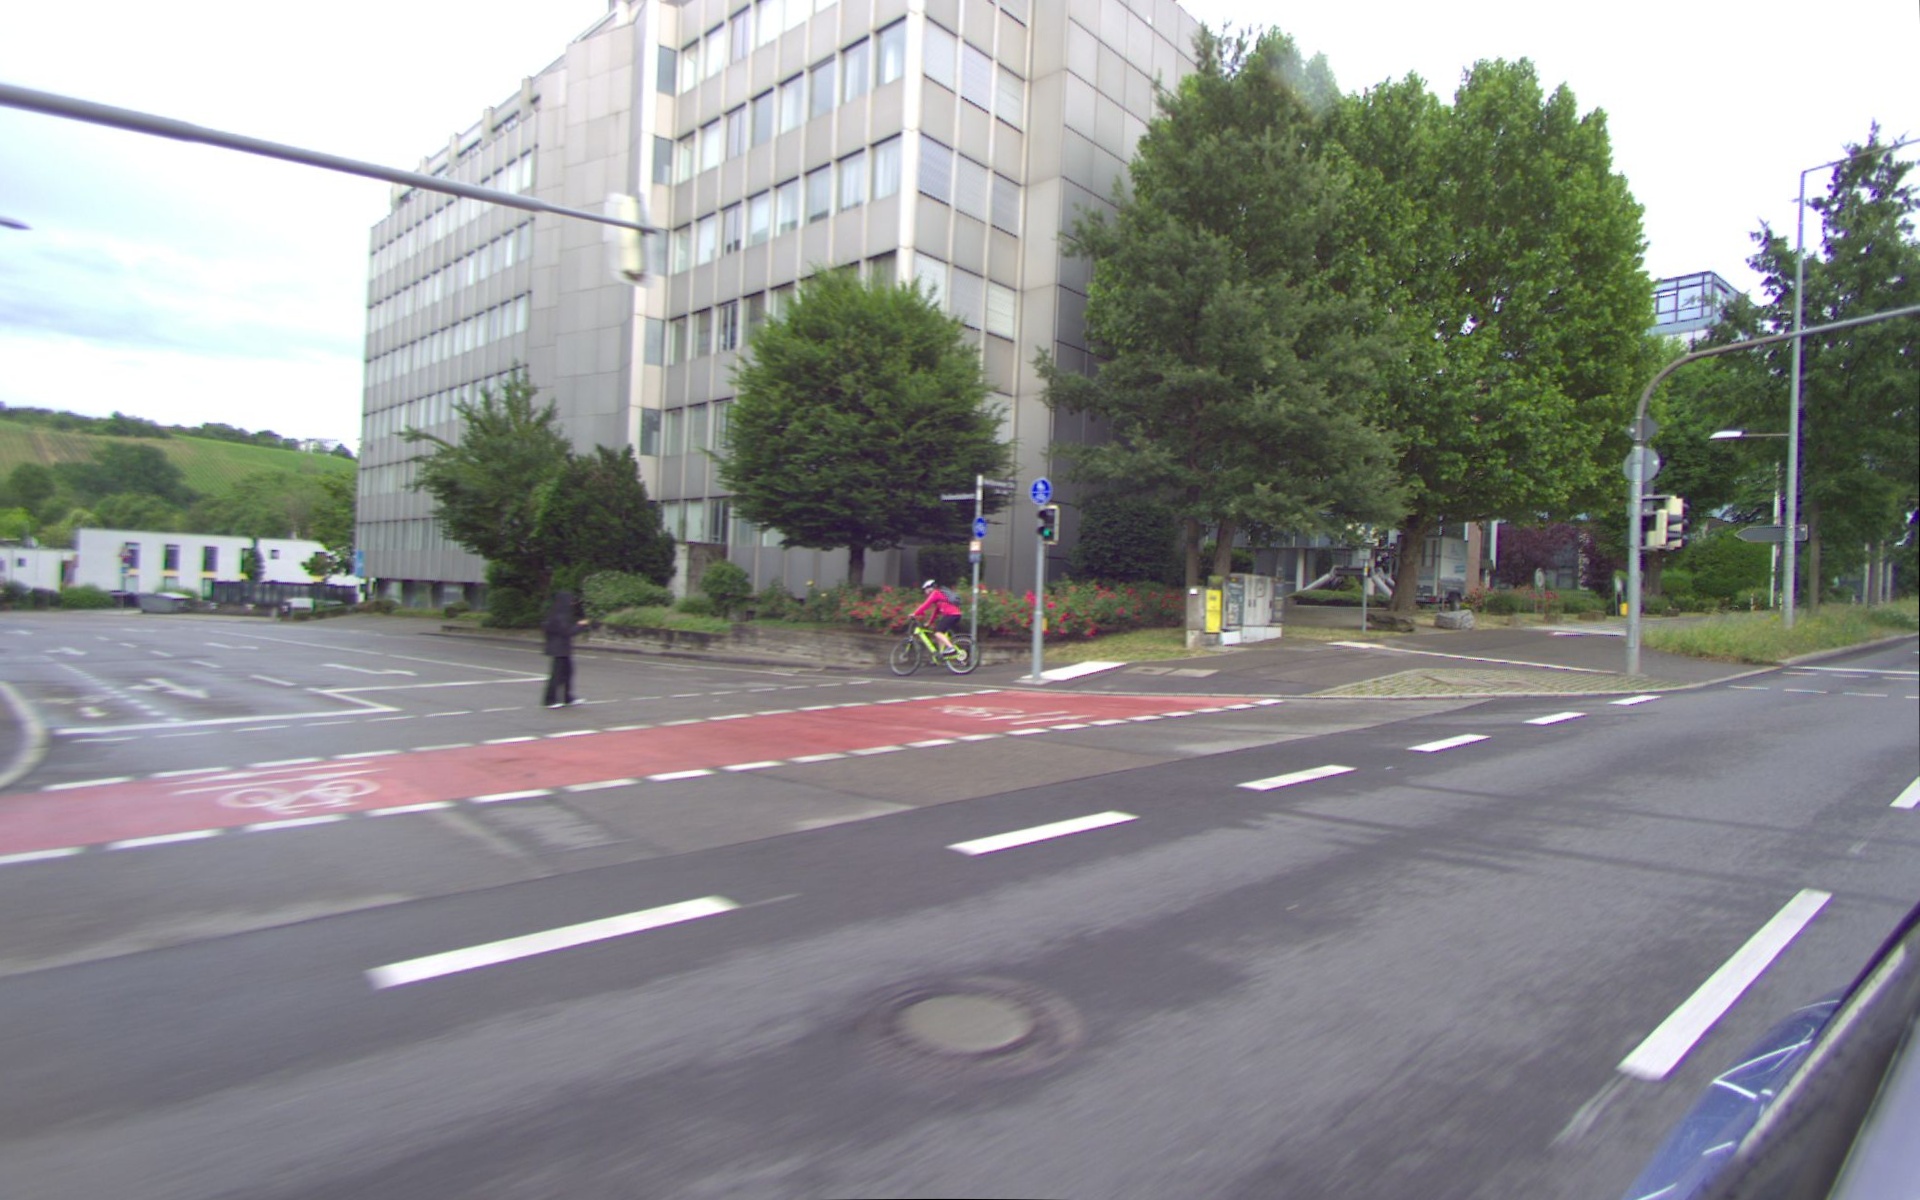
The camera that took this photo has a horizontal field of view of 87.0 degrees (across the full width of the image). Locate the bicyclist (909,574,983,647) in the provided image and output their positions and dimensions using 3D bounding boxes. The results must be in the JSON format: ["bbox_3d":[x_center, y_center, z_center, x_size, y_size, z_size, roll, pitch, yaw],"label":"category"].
[{"bbox_3d":[-0.258,0.194,18.665,1.202,1.304,0.654,-2,-1,16],"label":"bicyclist"}]

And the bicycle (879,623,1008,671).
[{"bbox_3d":[-0.304,0.864,18.672,2.285,0.819,0.666,-1,0,16],"label":"bicycle"}]

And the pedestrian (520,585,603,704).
[{"bbox_3d":[-5.409,0.574,13.775,0.784,1.560,0.904,0,1,-1],"label":"pedestrian"}]

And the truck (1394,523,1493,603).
[{"bbox_3d":[16.519,-1.238,34.514,3.934,2.549,1.747,-2,0,-44],"label":"truck"}]
